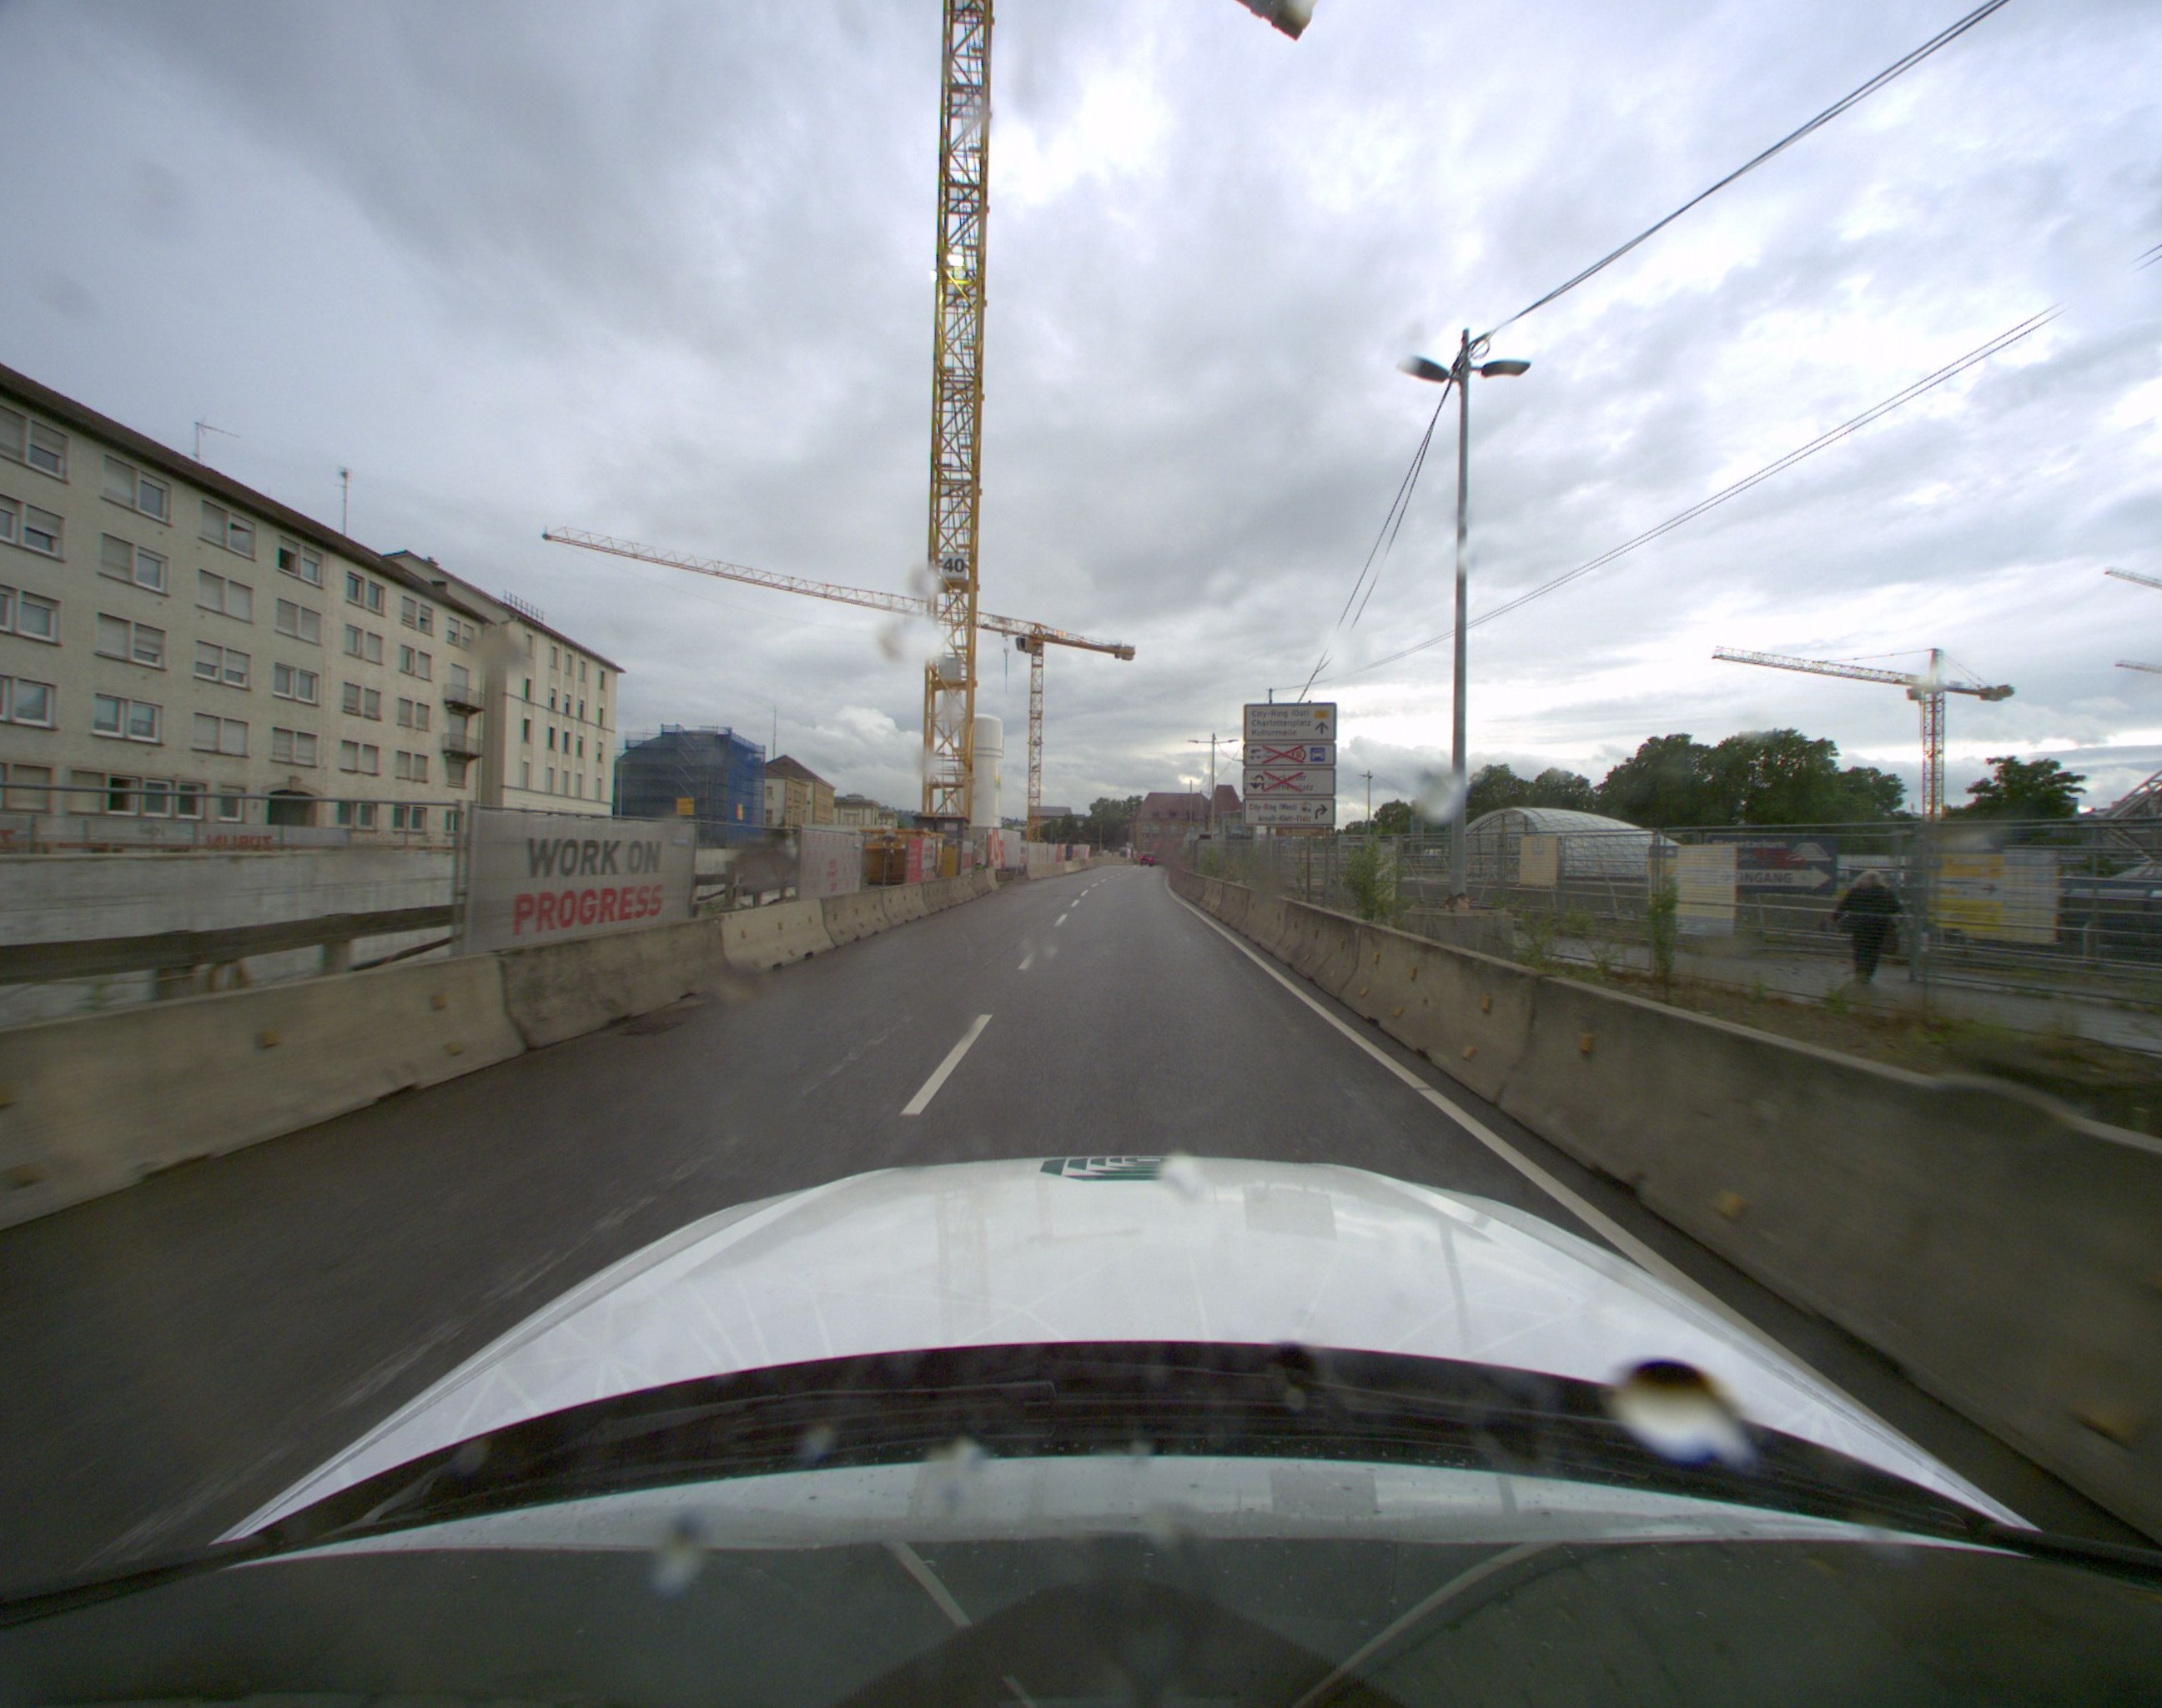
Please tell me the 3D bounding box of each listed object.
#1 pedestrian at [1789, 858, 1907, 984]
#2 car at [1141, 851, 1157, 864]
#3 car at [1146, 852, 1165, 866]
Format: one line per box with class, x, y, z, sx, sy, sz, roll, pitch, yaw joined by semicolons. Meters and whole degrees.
pedestrian;10.717;0.902;11.393;1.025;1.658;0.891;1;-2;-27
car;8.848;0.432;105.936;1.853;1.660;4.666;1;0;7
car;8.038;0.531;87.407;1.853;1.433;4.665;1;-1;8
